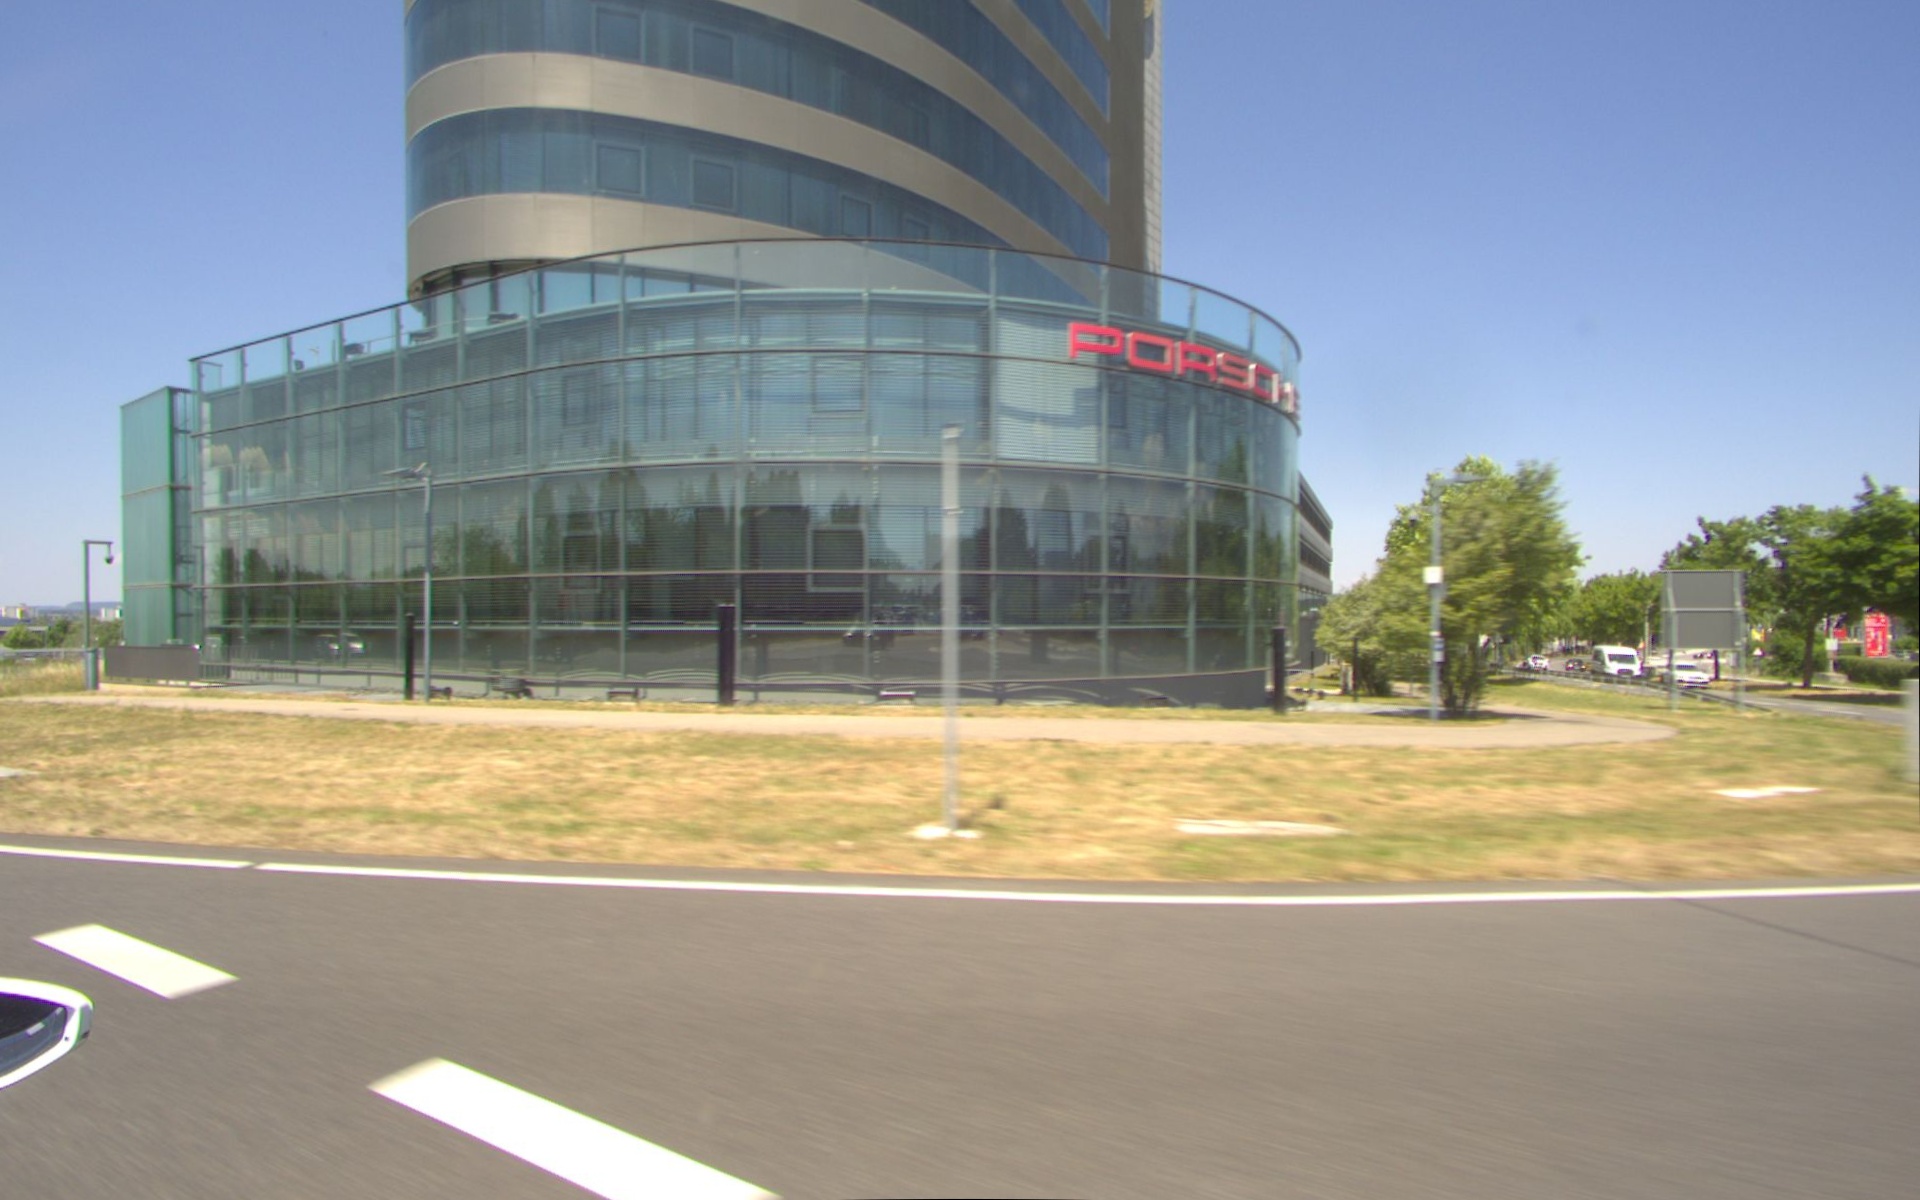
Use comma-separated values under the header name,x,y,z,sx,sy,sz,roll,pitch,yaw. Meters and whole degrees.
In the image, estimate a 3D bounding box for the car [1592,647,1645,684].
name,x,y,z,sx,sy,sz,roll,pitch,yaw
car,43.818,4.299,66.749,2.020,2.325,5.005,0,-2,23

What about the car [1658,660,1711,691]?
name,x,y,z,sx,sy,sz,roll,pitch,yaw
car,47.103,4.900,65.168,1.837,1.833,4.237,0,-2,23

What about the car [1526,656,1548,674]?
name,x,y,z,sx,sy,sz,roll,pitch,yaw
car,64.148,7.198,111.432,1.839,1.833,4.234,0,-2,26

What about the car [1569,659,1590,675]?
name,x,y,z,sx,sy,sz,roll,pitch,yaw
car,70.587,7.600,114.182,1.841,1.728,4.229,0,-2,30
